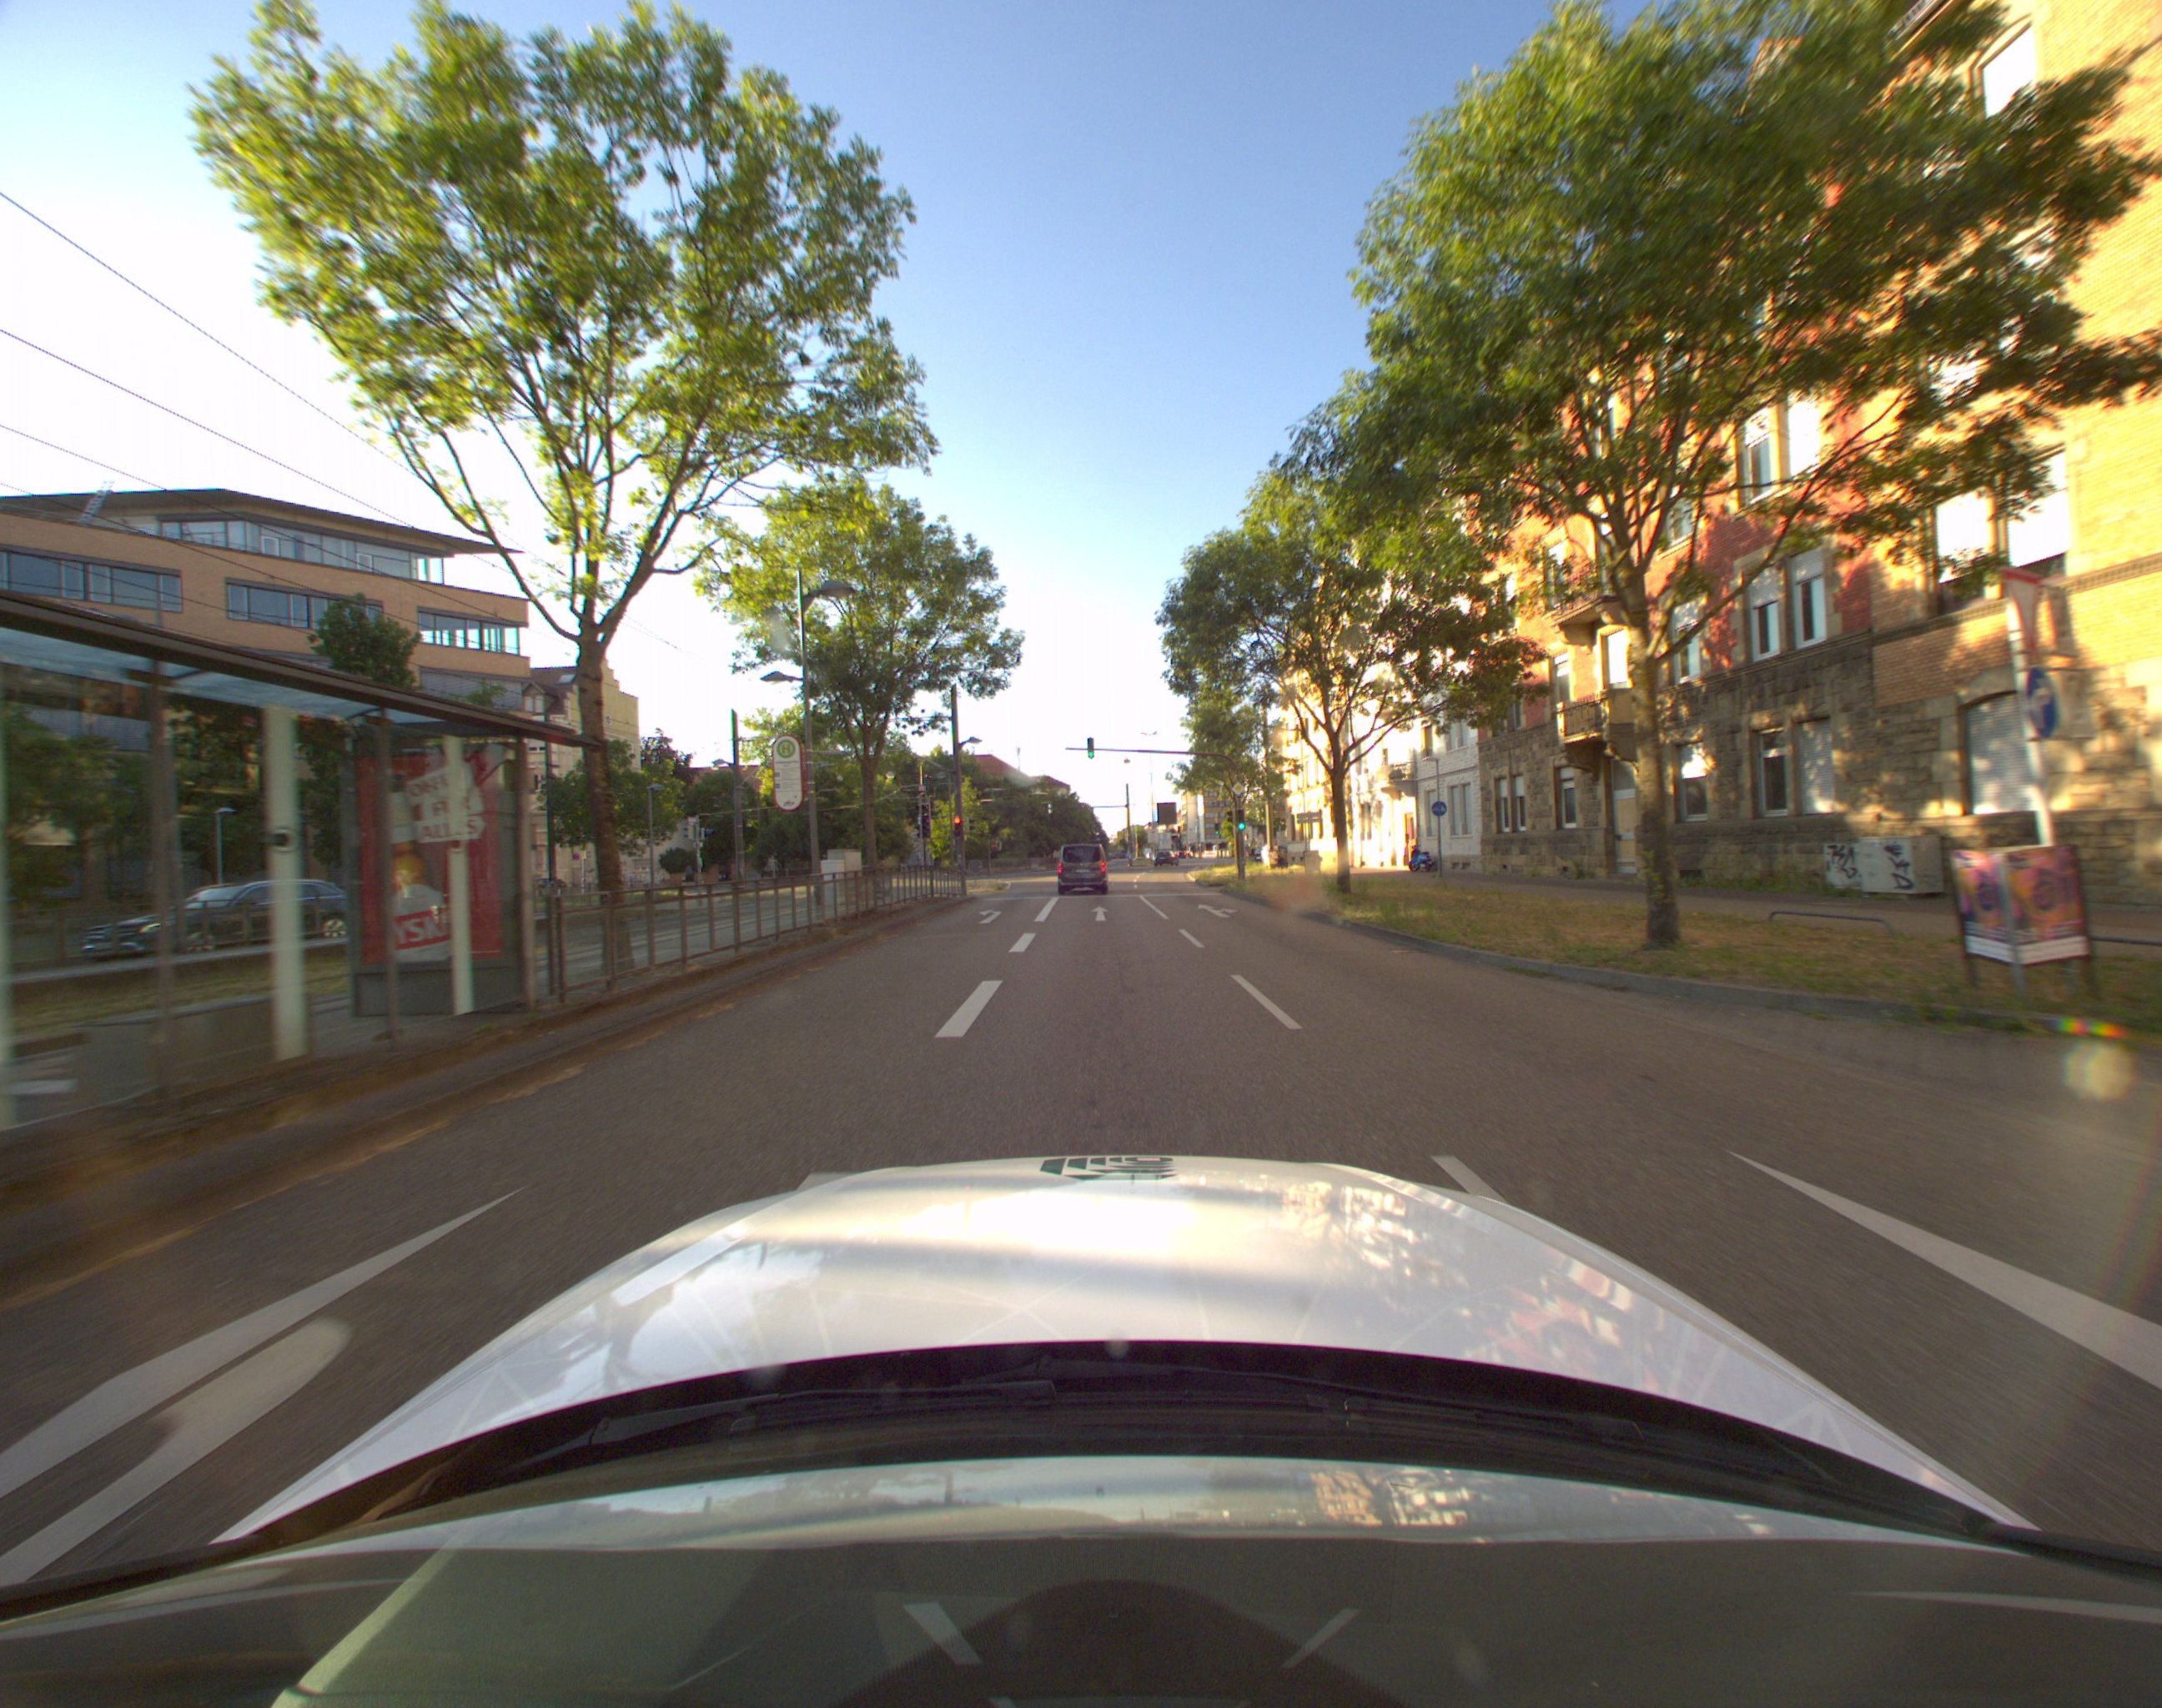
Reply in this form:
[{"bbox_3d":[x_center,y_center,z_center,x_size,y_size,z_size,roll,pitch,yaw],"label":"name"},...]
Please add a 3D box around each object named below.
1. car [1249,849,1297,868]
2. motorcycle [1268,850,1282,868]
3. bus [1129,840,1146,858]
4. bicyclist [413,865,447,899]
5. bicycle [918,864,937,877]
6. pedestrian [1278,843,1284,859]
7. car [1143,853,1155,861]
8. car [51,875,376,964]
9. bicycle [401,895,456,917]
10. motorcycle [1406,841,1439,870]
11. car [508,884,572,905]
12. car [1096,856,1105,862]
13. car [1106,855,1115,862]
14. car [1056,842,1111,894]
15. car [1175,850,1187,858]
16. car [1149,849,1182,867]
[{"bbox_3d":[16.430,0.353,69.573,4.021,1.510,1.976,-1,0,-41],"label":"car"},{"bbox_3d":[11.207,0.284,47.135,0.601,1.044,1.748,-2,0,7],"label":"motorcycle"},{"bbox_3d":[14.776,-1.282,214.781,3.282,4.617,9.991,-1,0,-2],"label":"bus"},{"bbox_3d":[-29.157,1.236,36.474,0.765,1.467,0.828,-2,0,3],"label":"bicyclist"},{"bbox_3d":[-14.412,1.541,76.395,1.731,1.142,0.552,-3,0,-41],"label":"bicycle"},{"bbox_3d":[20.955,-0.308,85.411,0.549,1.628,0.702,-3,0,10],"label":"pedestrian"},{"bbox_3d":[14.513,0.578,172.927,1.988,1.656,4.296,-3,0,-2],"label":"car"},{"bbox_3d":[-19.253,1.356,18.521,1.986,1.552,4.896,-2,0,2],"label":"car"},{"bbox_3d":[-29.136,2.316,36.392,0.771,0.821,1.967,-2,0,3],"label":"bicycle"},{"bbox_3d":[14.814,0.085,35.382,0.552,1.214,2.072,-1,0,-1],"label":"motorcycle"},{"bbox_3d":[-45.716,3.388,68.860,3.974,1.486,2.000,-3,0,0],"label":"car"},{"bbox_3d":[5.270,1.282,220.639,1.982,1.595,4.009,-2,0,8],"label":"car"},{"bbox_3d":[8.110,1.210,220.983,1.982,1.595,4.009,-2,0,8],"label":"car"},{"bbox_3d":[0.103,0.514,31.968,1.987,1.900,4.298,-1,0,0],"label":"car"},{"bbox_3d":[20.748,-0.021,168.567,1.986,1.656,4.301,-3,0,2],"label":"car"},{"bbox_3d":[7.939,0.334,75.947,1.828,1.544,3.653,-2,0,26],"label":"car"}]
